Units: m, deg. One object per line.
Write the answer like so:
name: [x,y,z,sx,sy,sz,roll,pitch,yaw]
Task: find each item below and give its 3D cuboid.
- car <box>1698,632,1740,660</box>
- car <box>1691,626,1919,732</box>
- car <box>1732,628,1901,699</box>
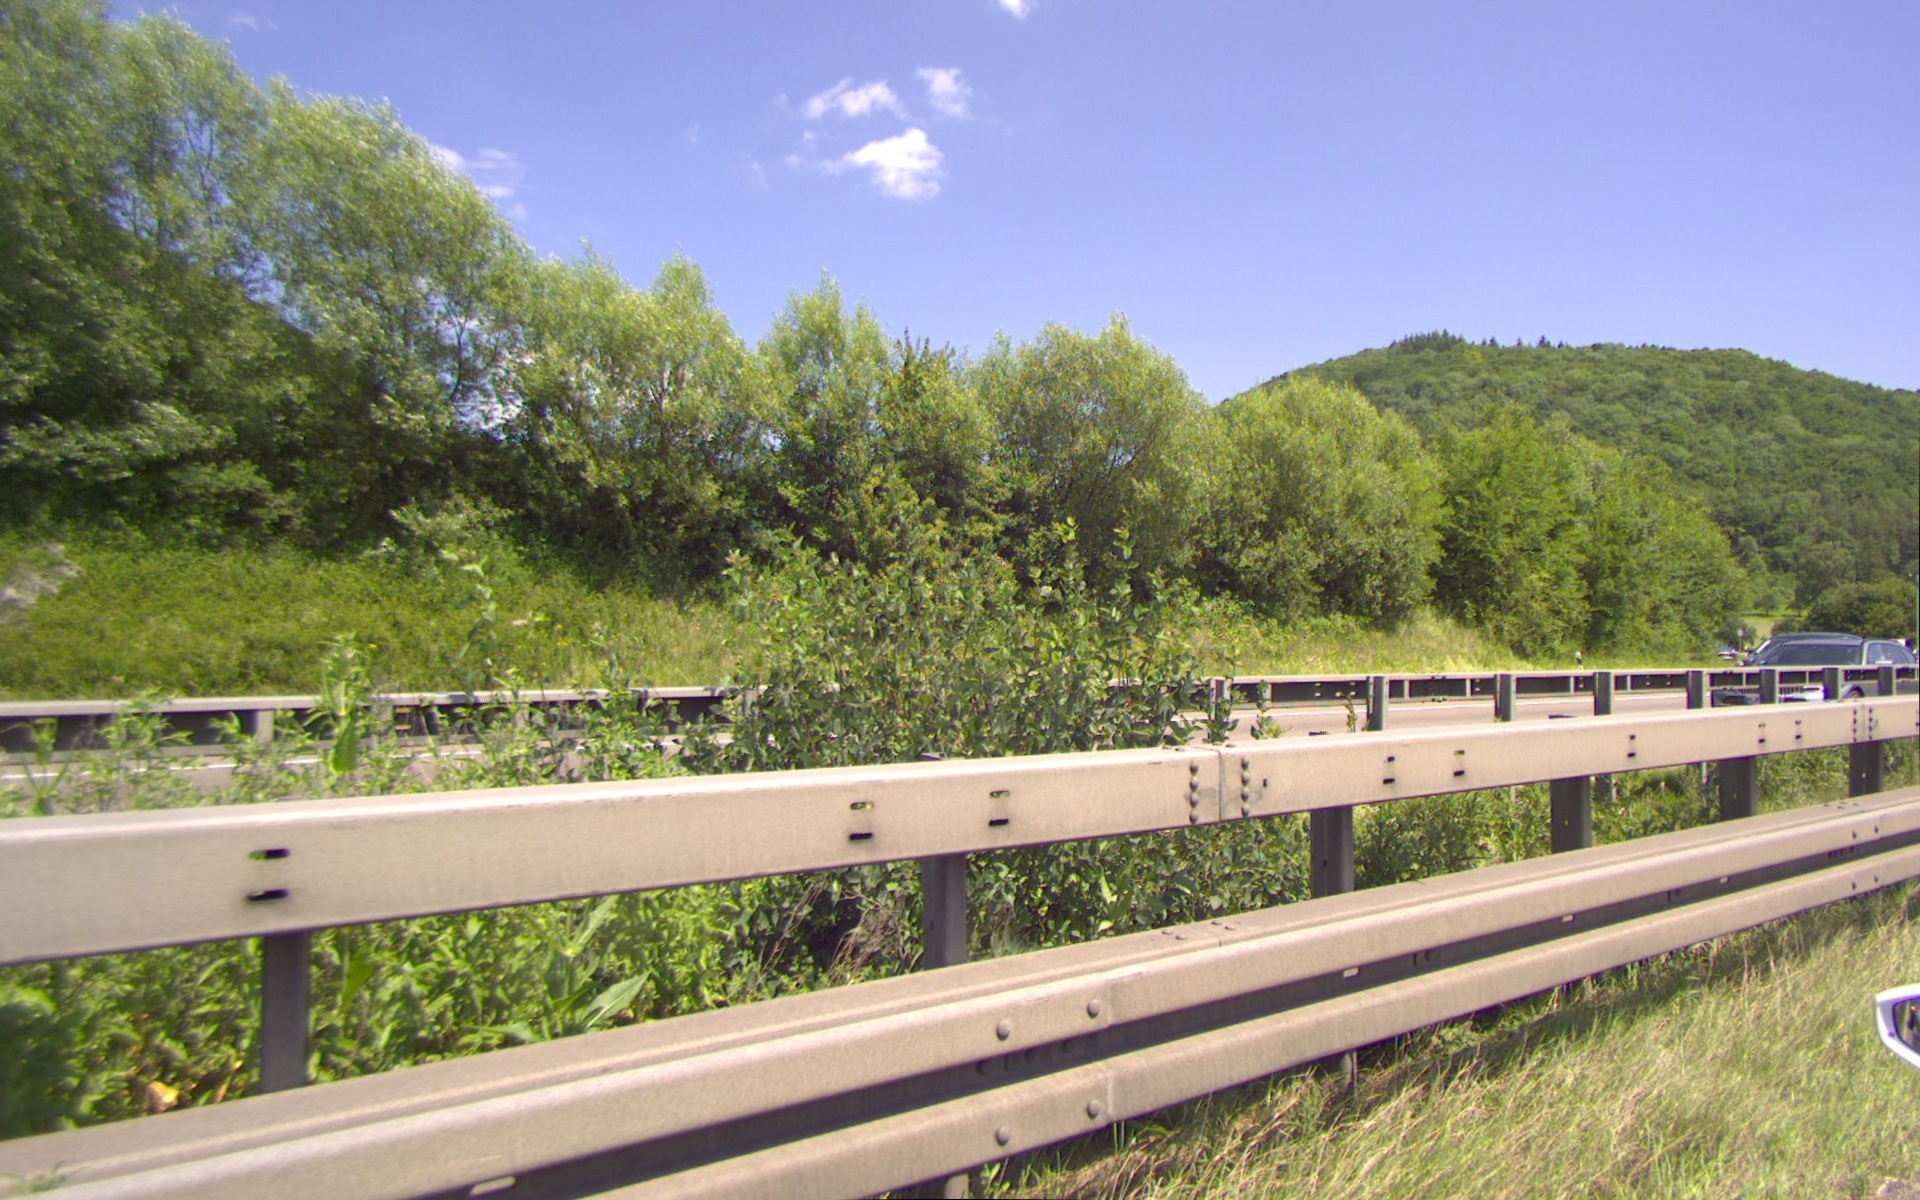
car: [54.255,3.226,71.867,1.780,1.862,3.995,1,-1,28]
car: [14.534,1.256,16.853,4.623,1.539,1.984,2,-1,-30]
car: [21.890,1.586,25.636,4.507,1.642,1.913,2,-1,-30]
